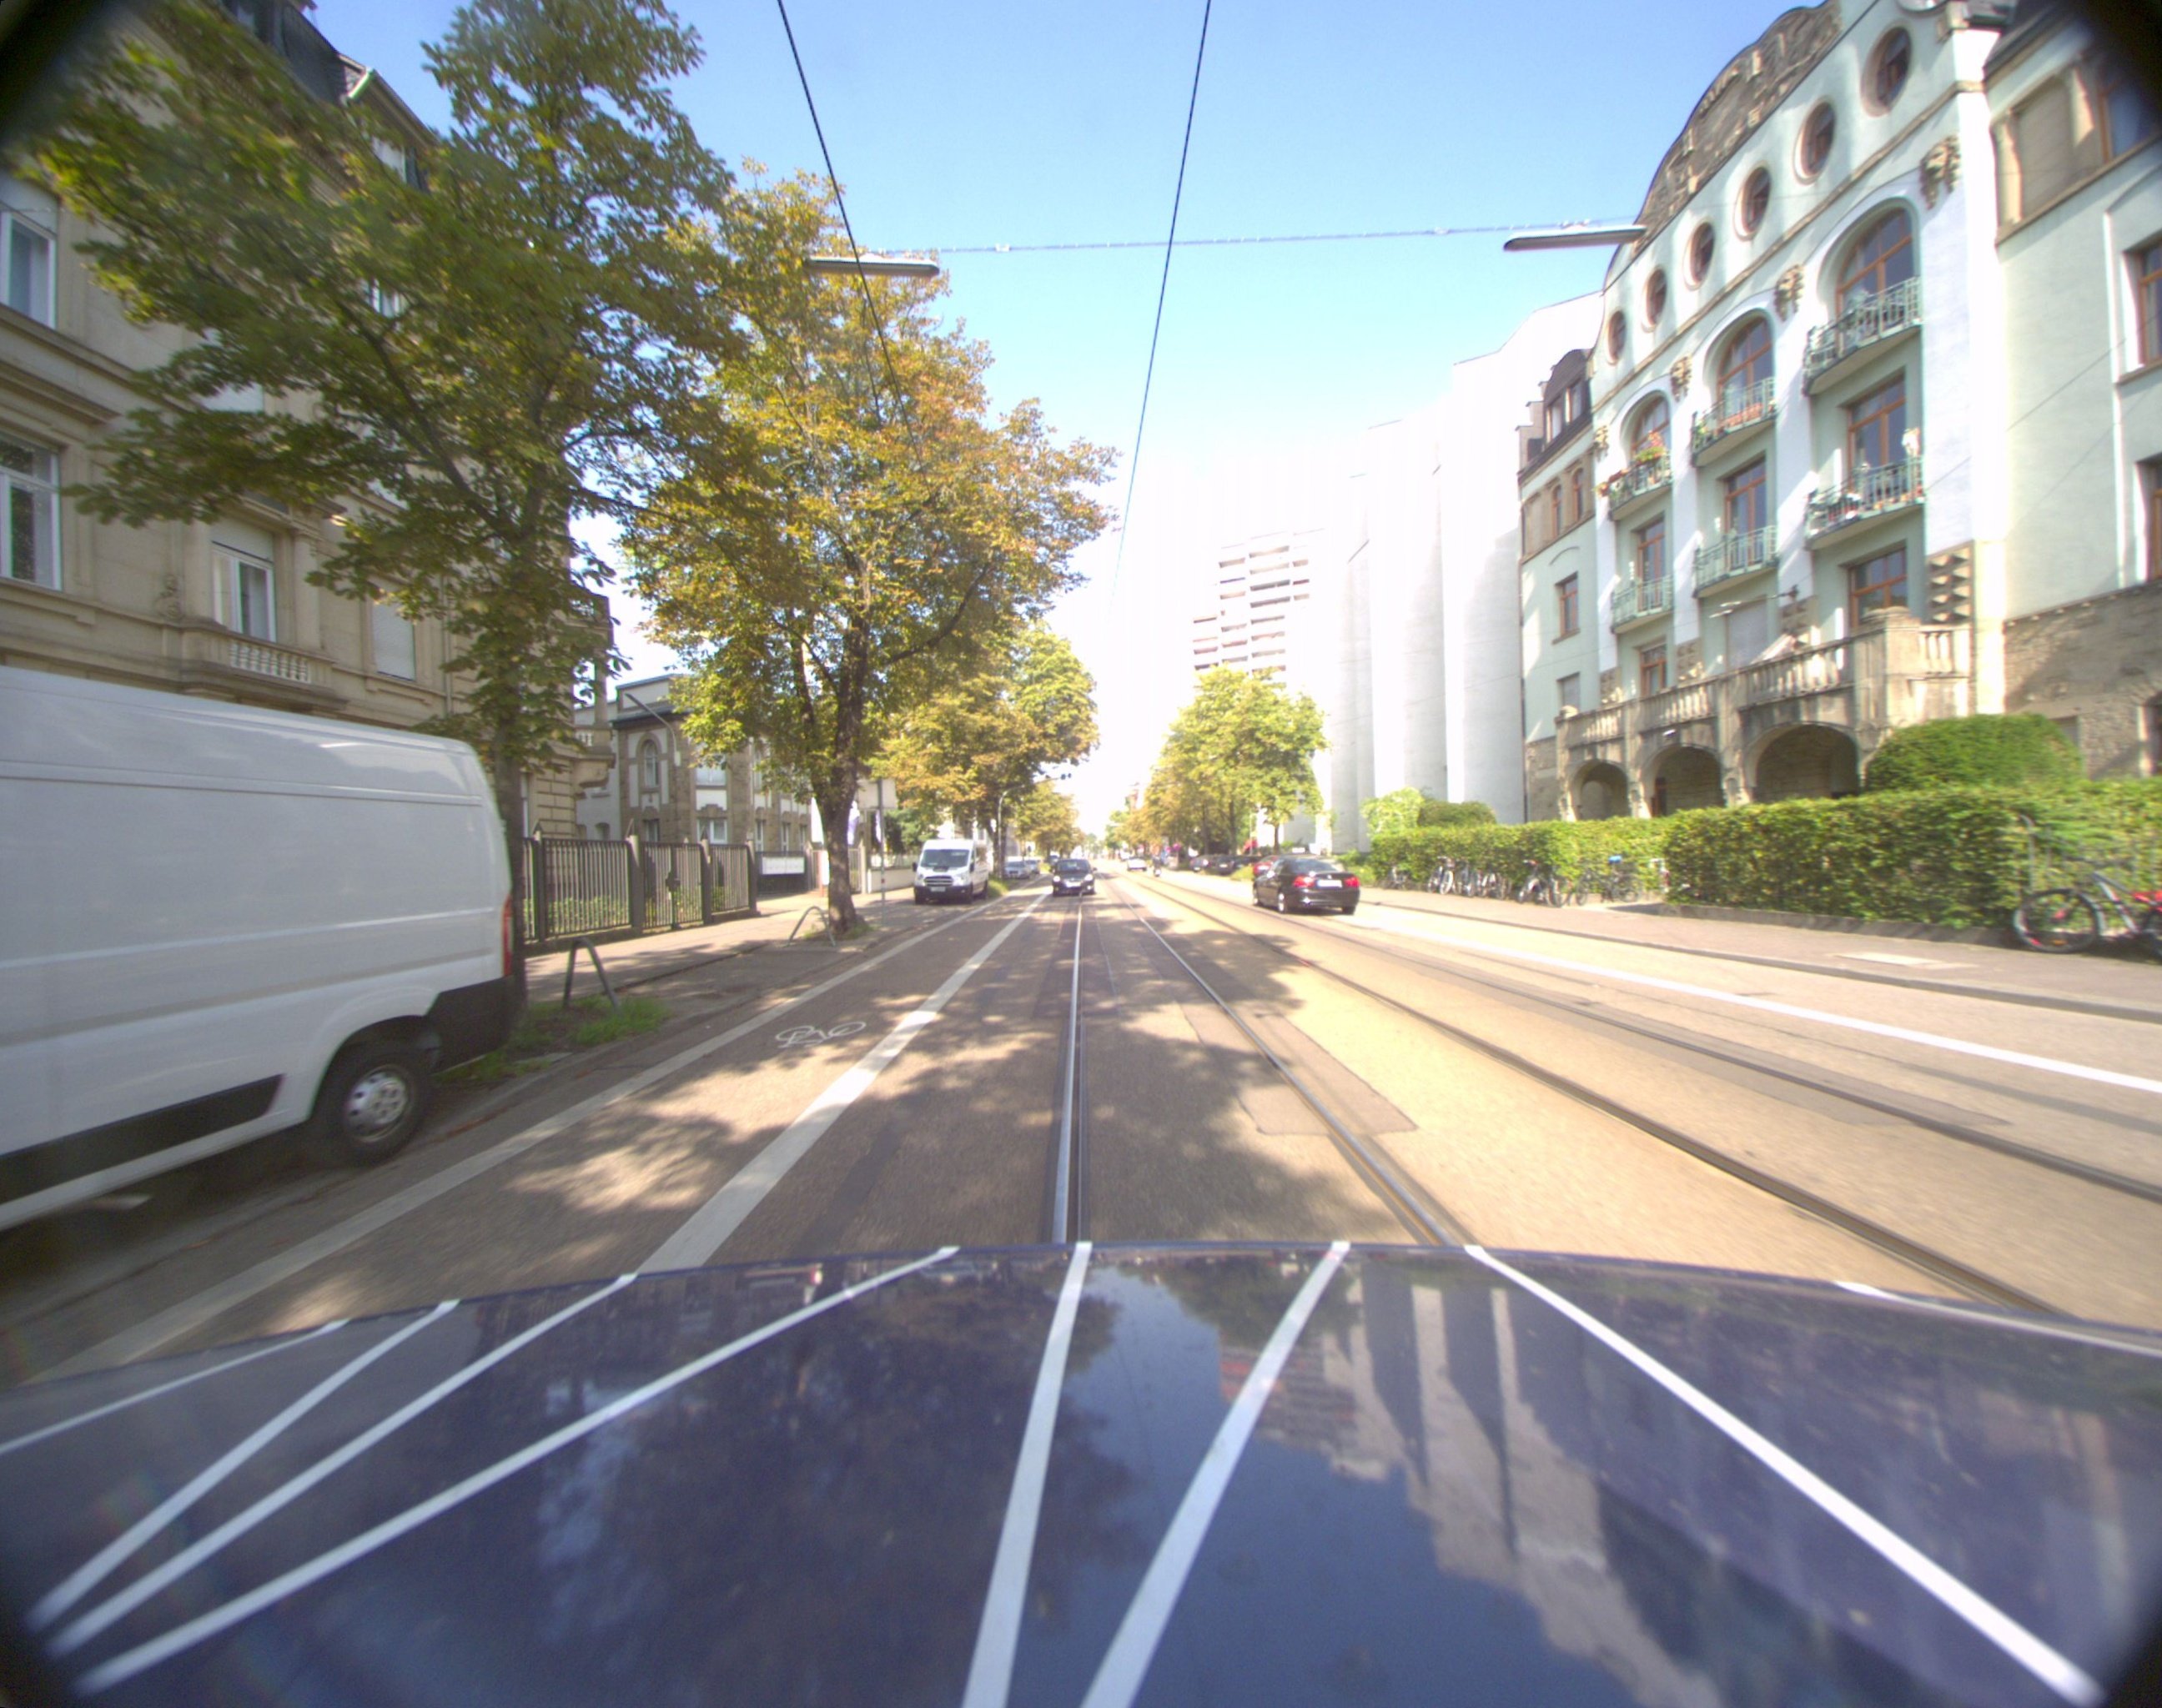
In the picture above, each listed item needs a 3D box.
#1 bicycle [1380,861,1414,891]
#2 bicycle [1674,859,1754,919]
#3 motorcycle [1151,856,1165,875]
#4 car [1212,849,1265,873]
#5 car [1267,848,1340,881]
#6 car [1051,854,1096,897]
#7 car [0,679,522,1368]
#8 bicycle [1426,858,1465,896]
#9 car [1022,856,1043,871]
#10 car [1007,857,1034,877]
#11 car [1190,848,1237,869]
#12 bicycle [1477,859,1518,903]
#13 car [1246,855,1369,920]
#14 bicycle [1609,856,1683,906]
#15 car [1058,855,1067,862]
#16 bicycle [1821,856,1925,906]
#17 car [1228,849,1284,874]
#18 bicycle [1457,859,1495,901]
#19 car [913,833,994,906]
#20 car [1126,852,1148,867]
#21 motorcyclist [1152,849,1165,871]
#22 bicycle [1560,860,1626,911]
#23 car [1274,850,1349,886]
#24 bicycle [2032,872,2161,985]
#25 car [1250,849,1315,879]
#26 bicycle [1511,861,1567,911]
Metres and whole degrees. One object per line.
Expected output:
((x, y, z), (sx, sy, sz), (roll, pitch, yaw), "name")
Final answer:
((10.852, 0.739, 26.156), (0.425, 0.972, 1.770), (-1, 0, -1), "bicycle")
((12.052, 0.657, 14.466), (1.355, 1.081, 0.425), (-1, 1, -12), "bicycle")
((5.276, 0.804, 51.928), (0.816, 1.235, 2.201), (-1, 0, 3), "motorcycle")
((10.781, 0.434, 51.881), (1.767, 1.518, 4.008), (-1, 1, 42), "car")
((11.378, 0.517, 38.713), (4.008, 1.518, 1.767), (-2, 1, -44), "car")
((-0.264, 0.825, 31.055), (1.611, 1.515, 4.357), (-3, 1, 1), "car")
((-4.939, 0.623, 2.123), (2.051, 2.484, 6.228), (-1, 0, 1), "car")
((10.936, 0.664, 22.821), (0.425, 1.081, 1.676), (-1, 1, 3), "bicycle")
((-4.527, 0.879, 71.054), (1.757, 1.349, 3.787), (-1, 0, -1), "car")
((-4.566, 0.945, 57.458), (1.757, 1.349, 3.787), (-1, 0, -1), "car")
((10.624, 0.349, 60.733), (1.767, 1.518, 4.008), (-1, 1, 42), "car")
((10.938, 0.696, 20.000), (0.425, 1.081, 1.677), (-1, 1, 9), "bicycle")
((5.579, 0.762, 19.370), (1.701, 1.395, 4.645), (0, 1, -1), "car")
((12.749, 0.599, 17.151), (1.354, 1.081, 0.426), (-1, 1, -1), "bicycle")
((-3.707, 0.895, 155.219), (1.757, 1.349, 3.787), (-1, 0, -1), "car")
((15.426, 0.514, 14.834), (1.351, 0.943, 0.426), (-1, 1, 34), "bicycle")
((11.323, 0.465, 49.022), (1.767, 1.518, 4.008), (-1, 1, 42), "car")
((10.794, 0.683, 20.811), (0.425, 1.081, 1.677), (-1, 1, 9), "bicycle")
((-4.735, 0.520, 29.101), (1.998, 2.526, 5.867), (0, 0, 1), "car")
((5.224, 0.492, 71.006), (1.757, 1.349, 3.787), (-1, 0, -1), "car")
((5.270, 0.413, 51.937), (0.816, 1.445, 0.888), (-1, 1, 3), "motorcyclist")
((11.377, 0.688, 16.894), (1.397, 1.081, 0.425), (-1, 1, -17), "bicycle")
((10.646, 0.596, 34.933), (1.767, 1.518, 4.008), (-1, 1, 42), "car")
((10.906, 0.752, 7.889), (0.371, 1.081, 1.355), (-1, 1, 0), "bicycle")
((11.058, 0.511, 41.560), (1.767, 1.518, 4.008), (-1, 1, 42), "car")
((10.768, 0.727, 17.906), (0.425, 1.081, 1.677), (-1, 1, 5), "bicycle")
